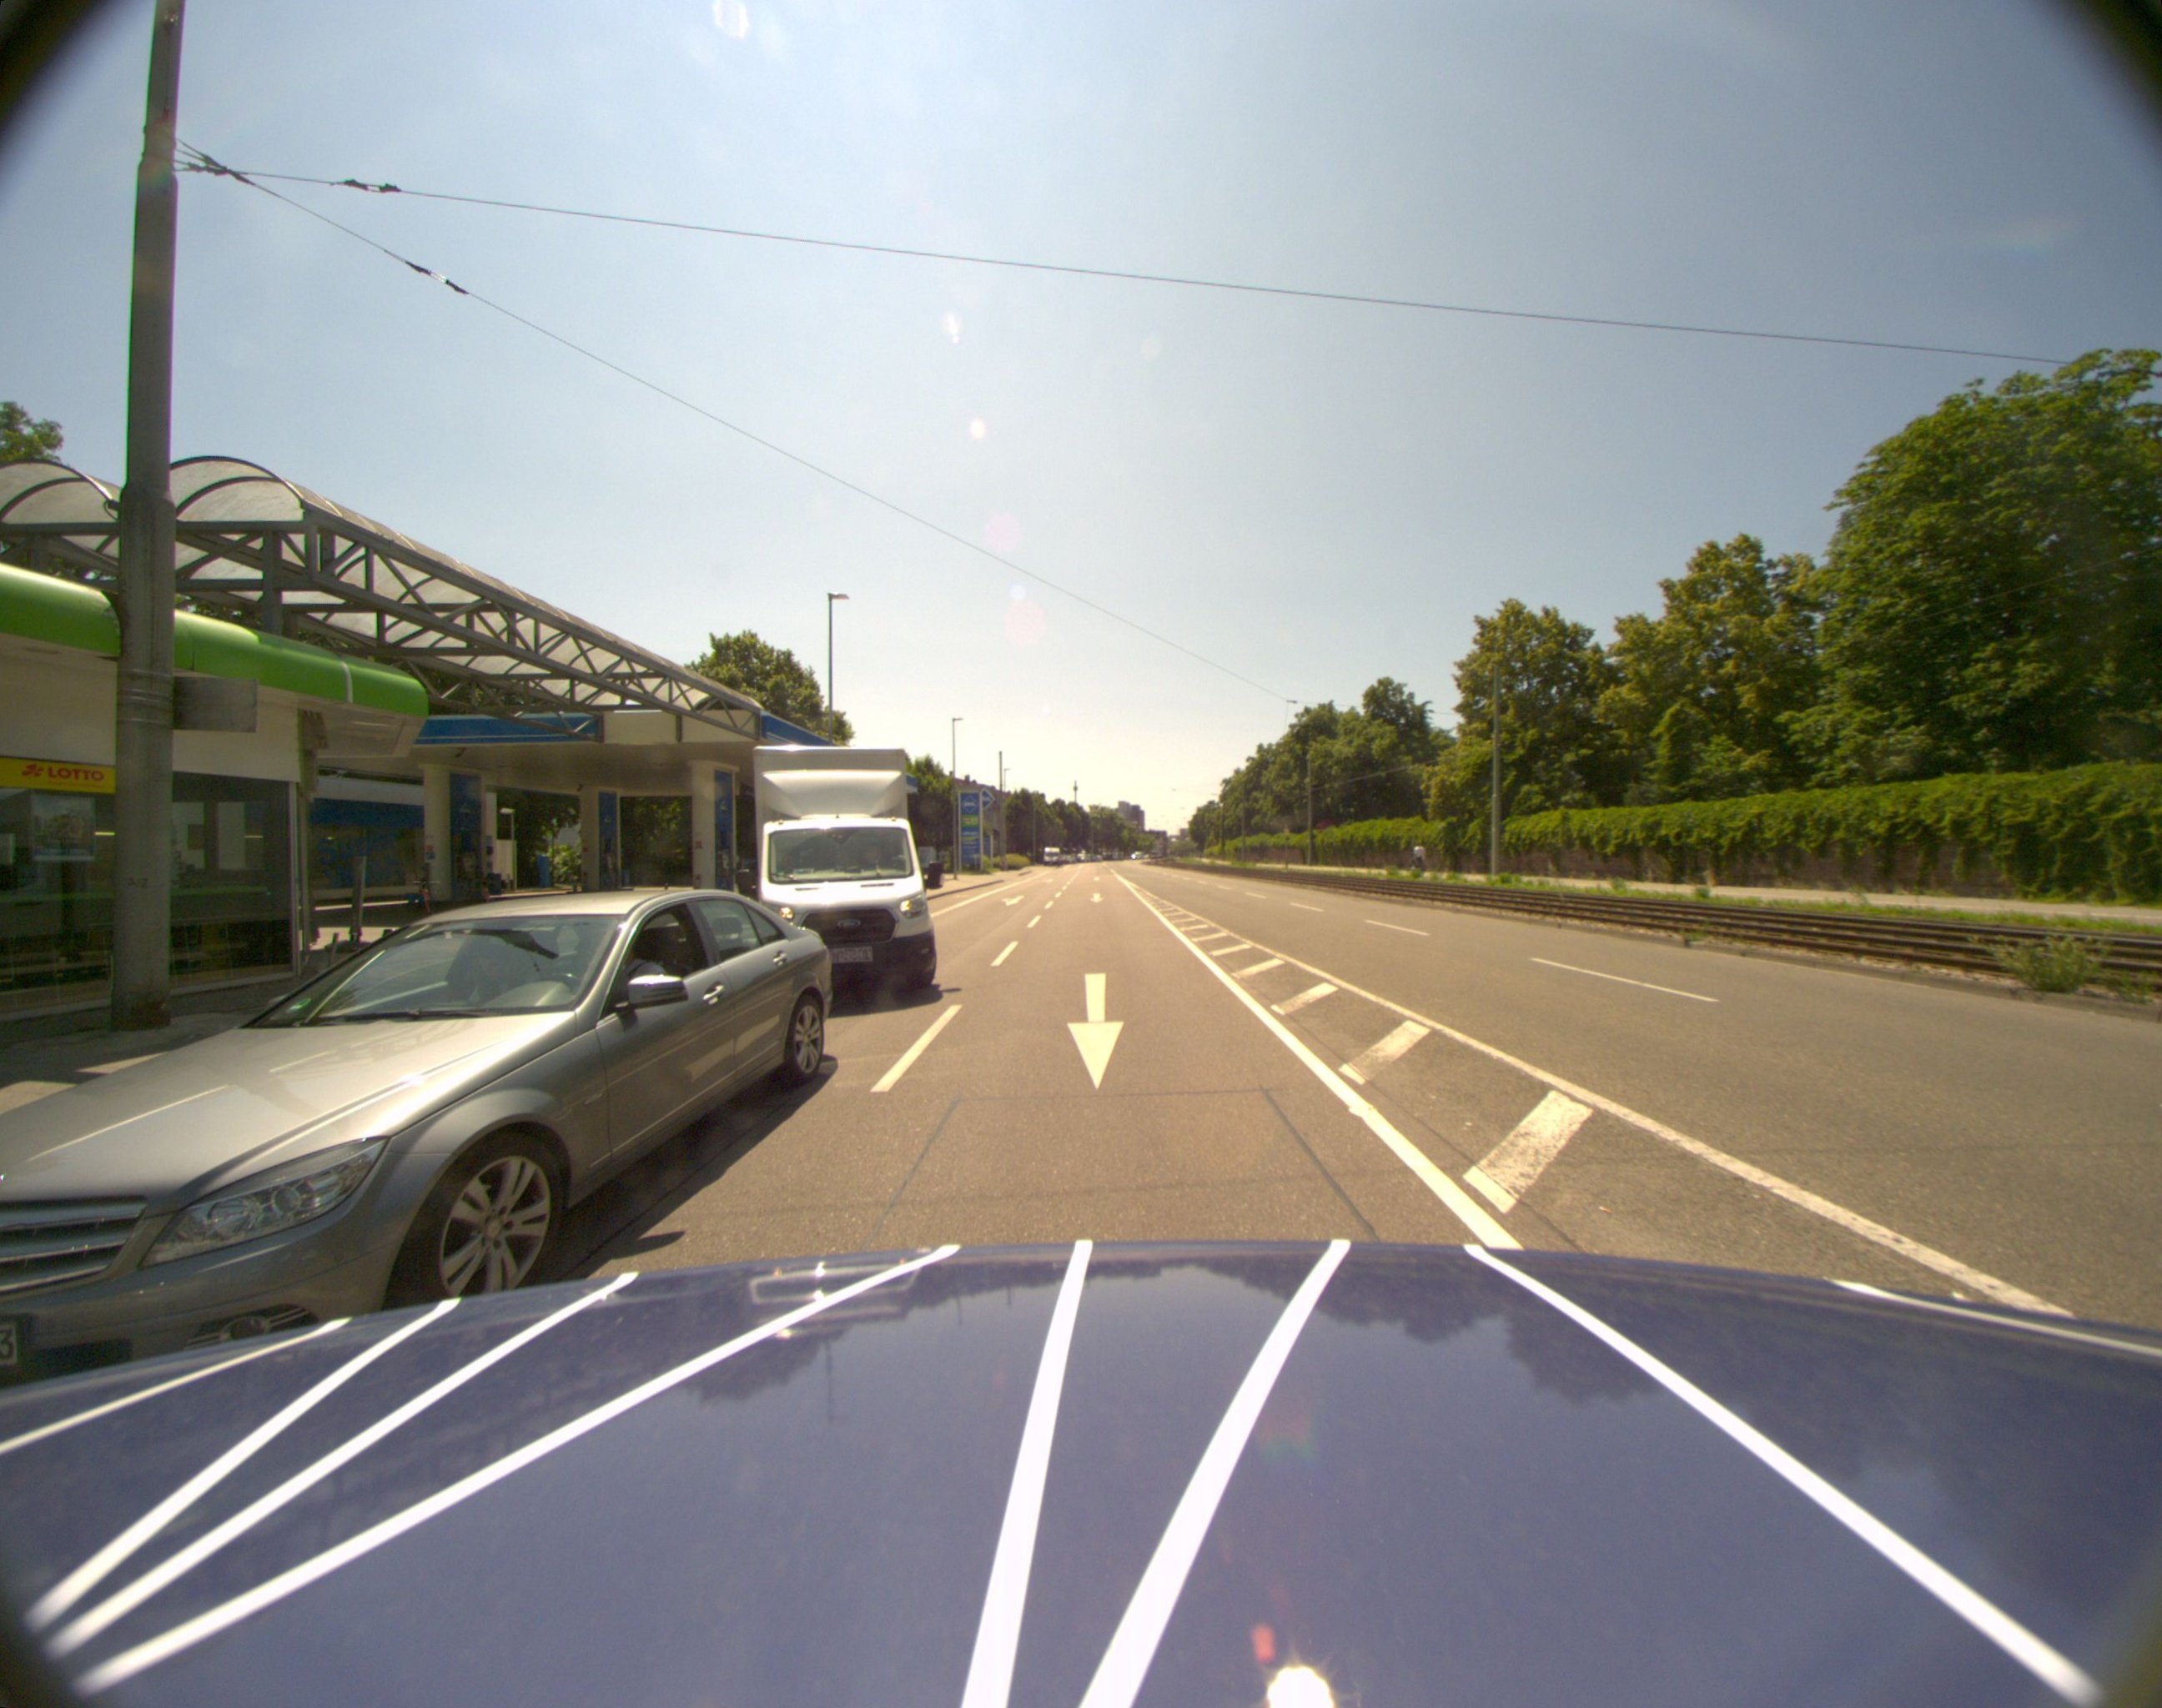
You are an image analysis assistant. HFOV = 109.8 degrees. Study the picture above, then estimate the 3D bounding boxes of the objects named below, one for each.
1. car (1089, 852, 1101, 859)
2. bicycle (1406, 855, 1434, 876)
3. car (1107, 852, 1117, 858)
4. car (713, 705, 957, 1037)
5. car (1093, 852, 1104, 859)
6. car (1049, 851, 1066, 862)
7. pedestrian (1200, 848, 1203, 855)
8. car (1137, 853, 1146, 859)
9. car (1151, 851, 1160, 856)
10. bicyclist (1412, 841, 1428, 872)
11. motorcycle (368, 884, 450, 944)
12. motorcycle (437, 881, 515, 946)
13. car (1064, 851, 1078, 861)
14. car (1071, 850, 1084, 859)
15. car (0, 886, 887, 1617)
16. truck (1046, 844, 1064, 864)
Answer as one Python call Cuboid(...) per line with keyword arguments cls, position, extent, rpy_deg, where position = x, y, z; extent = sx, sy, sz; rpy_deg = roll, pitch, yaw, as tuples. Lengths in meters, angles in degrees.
Cuboid(cls="car", position=(3.181, 0.386, 172.043), extent=(1.911, 1.488, 4.002), rpy_deg=(-2, 1, 10))
Cuboid(cls="bicycle", position=(18.240, 0.619, 40.962), extent=(0.618, 1.049, 1.978), rpy_deg=(-2, 1, 0))
Cuboid(cls="car", position=(8.313, 0.338, 202.929), extent=(1.911, 1.488, 4.002), rpy_deg=(-2, 1, 10))
Cuboid(cls="car", position=(-3.894, 0.146, 12.019), extent=(2.232, 3.316, 8.622), rpy_deg=(-3, 1, -19))
Cuboid(cls="car", position=(4.007, 0.300, 177.008), extent=(1.911, 1.488, 4.002), rpy_deg=(-2, 1, 10))
Cuboid(cls="car", position=(-3.359, 0.300, 108.518), extent=(1.912, 1.488, 4.001), rpy_deg=(-2, 1, 4))
Cuboid(cls="pedestrian", position=(25.809, -0.518, 162.807), extent=(0.453, 1.655, 0.302), rpy_deg=(-2, 0, 1))
Cuboid(cls="car", position=(18.895, 0.593, 237.086), extent=(1.945, 1.674, 4.003), rpy_deg=(-2, 1, 14))
Cuboid(cls="car", position=(21.203, -0.181, 215.938), extent=(1.800, 1.488, 3.967), rpy_deg=(-2, 0, 14))
Cuboid(cls="bicyclist", position=(18.230, 0.122, 40.863), extent=(0.483, 1.603, 0.769), rpy_deg=(-2, 1, 1))
Cuboid(cls="motorcycle", position=(-12.844, 1.142, 14.534), extent=(1.157, 1.107, 0.396), rpy_deg=(1, -1, -1))
Cuboid(cls="motorcycle", position=(-11.591, 1.129, 14.568), extent=(1.157, 1.203, 0.364), rpy_deg=(1, -1, -1))
Cuboid(cls="car", position=(-1.658, 0.281, 126.600), extent=(1.912, 1.488, 4.001), rpy_deg=(-2, 1, 4))
Cuboid(cls="car", position=(-0.620, 0.135, 139.283), extent=(1.912, 1.488, 4.001), rpy_deg=(-2, 1, 4))
Cuboid(cls="car", position=(-2.788, 1.056, 4.413), extent=(1.717, 1.464, 5.302), rpy_deg=(-3, 0, 2))
Cuboid(cls="truck", position=(-3.426, -0.022, 101.513), extent=(1.998, 2.462, 5.237), rpy_deg=(-2, 1, 1))
